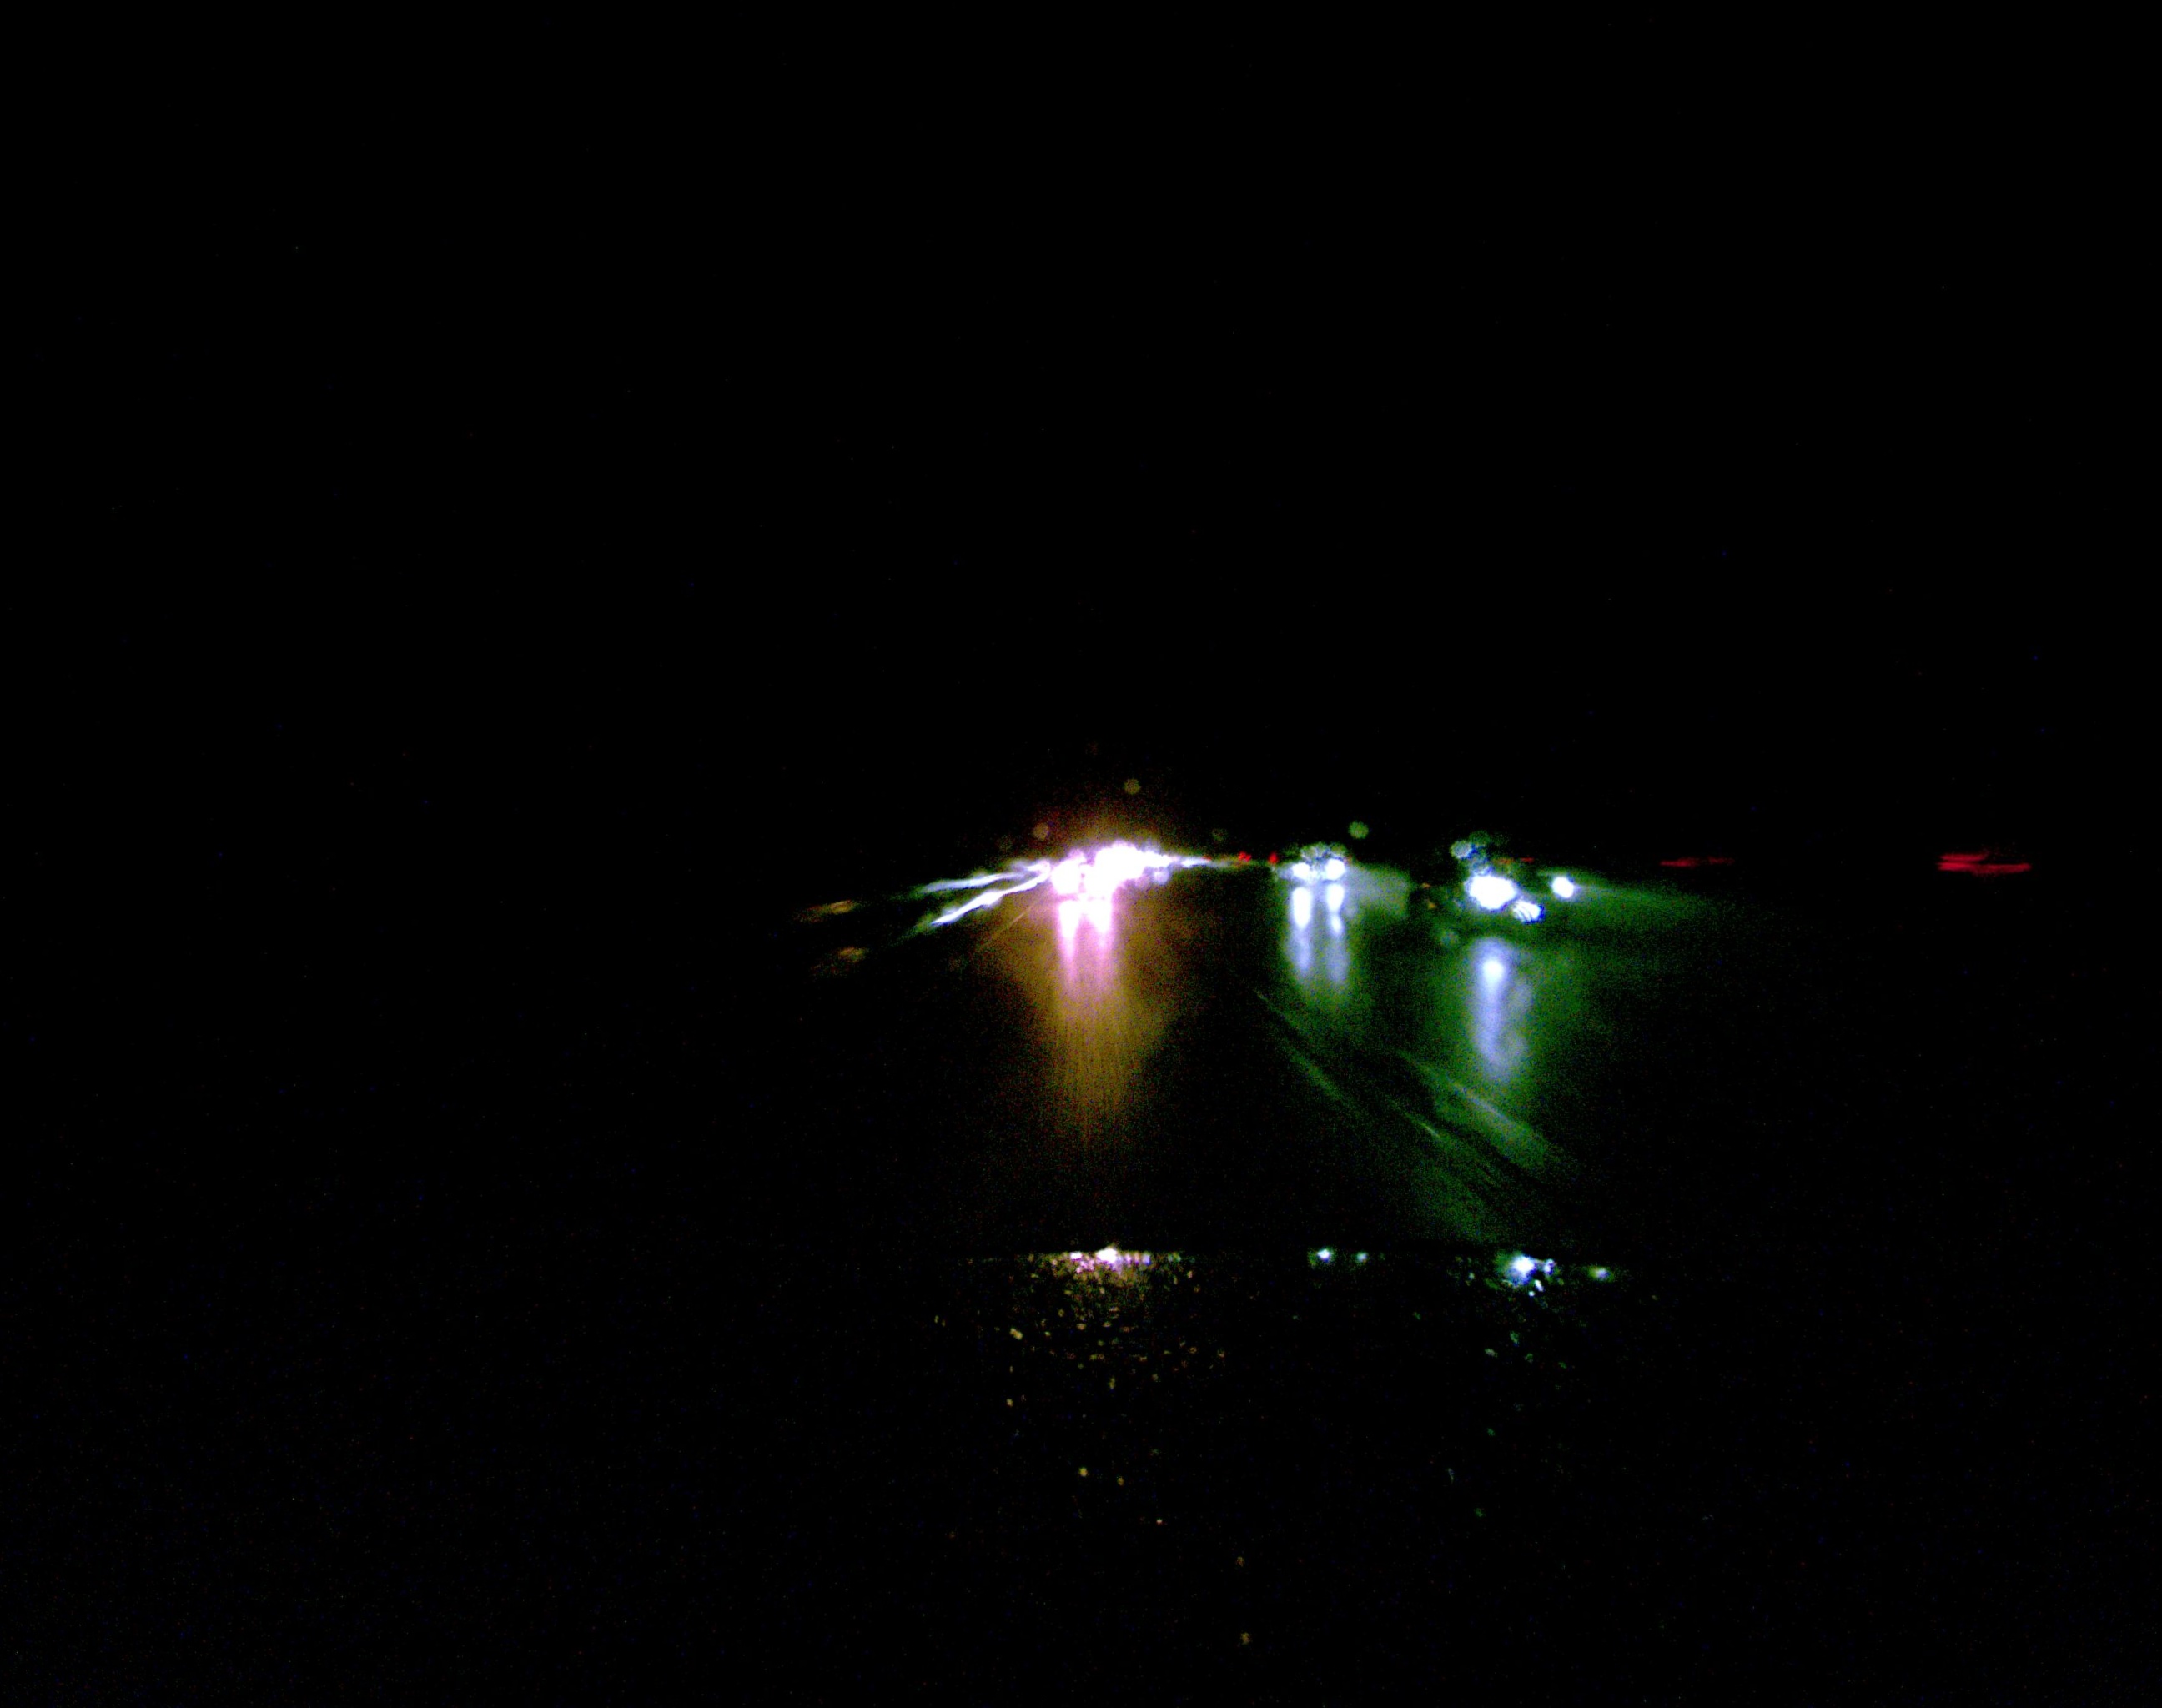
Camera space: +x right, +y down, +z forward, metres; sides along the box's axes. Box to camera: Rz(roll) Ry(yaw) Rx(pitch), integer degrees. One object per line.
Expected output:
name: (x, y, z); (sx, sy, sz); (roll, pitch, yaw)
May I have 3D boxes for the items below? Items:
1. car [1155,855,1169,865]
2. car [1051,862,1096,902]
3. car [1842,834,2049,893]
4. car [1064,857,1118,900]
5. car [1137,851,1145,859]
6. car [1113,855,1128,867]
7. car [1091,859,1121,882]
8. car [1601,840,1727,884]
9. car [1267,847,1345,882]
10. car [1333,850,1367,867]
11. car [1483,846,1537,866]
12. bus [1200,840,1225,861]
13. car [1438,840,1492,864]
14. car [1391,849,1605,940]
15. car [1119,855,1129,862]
car: (13.612, 1.000, 127.972); (1.998, 1.551, 4.587); (-2, 1, 2)
car: (-0.243, 1.006, 28.409); (1.525, 1.256, 3.369); (-2, 1, 1)
car: (28.286, 0.257, 25.139); (1.884, 1.712, 4.564); (-2, 1, 5)
car: (0.425, 0.986, 31.009); (1.998, 1.542, 4.001); (-2, -1, 1)
car: (15.735, 0.215, 200.218); (1.998, 1.797, 4.000); (-2, 1, 2)
car: (5.642, 1.005, 109.942); (1.998, 1.551, 4.587); (-2, 1, 2)
car: (1.821, 1.175, 57.059); (1.998, 1.468, 4.840); (-2, 1, 0)
car: (25.019, 0.303, 32.858); (1.885, 1.712, 4.562); (-2, 1, -1)
car: (10.591, 0.442, 36.223); (1.999, 1.468, 5.163); (-2, 1, -2)
car: (29.462, 0.464, 83.399); (1.885, 1.712, 4.562); (-2, 1, -2)
car: (32.934, 0.129, 58.476); (1.885, 1.425, 3.895); (-2, 1, -1)
bus: (30.716, -0.848, 178.069); (3.379, 4.423, 16.541); (-2, 1, 2)
car: (29.204, -0.183, 57.993); (1.884, 1.712, 4.563); (-2, 1, 2)
car: (7.841, 0.676, 14.799); (1.998, 1.433, 4.000); (-2, 1, 1)
car: (9.521, 0.992, 168.031); (1.998, 1.551, 4.587); (-2, 1, 2)
